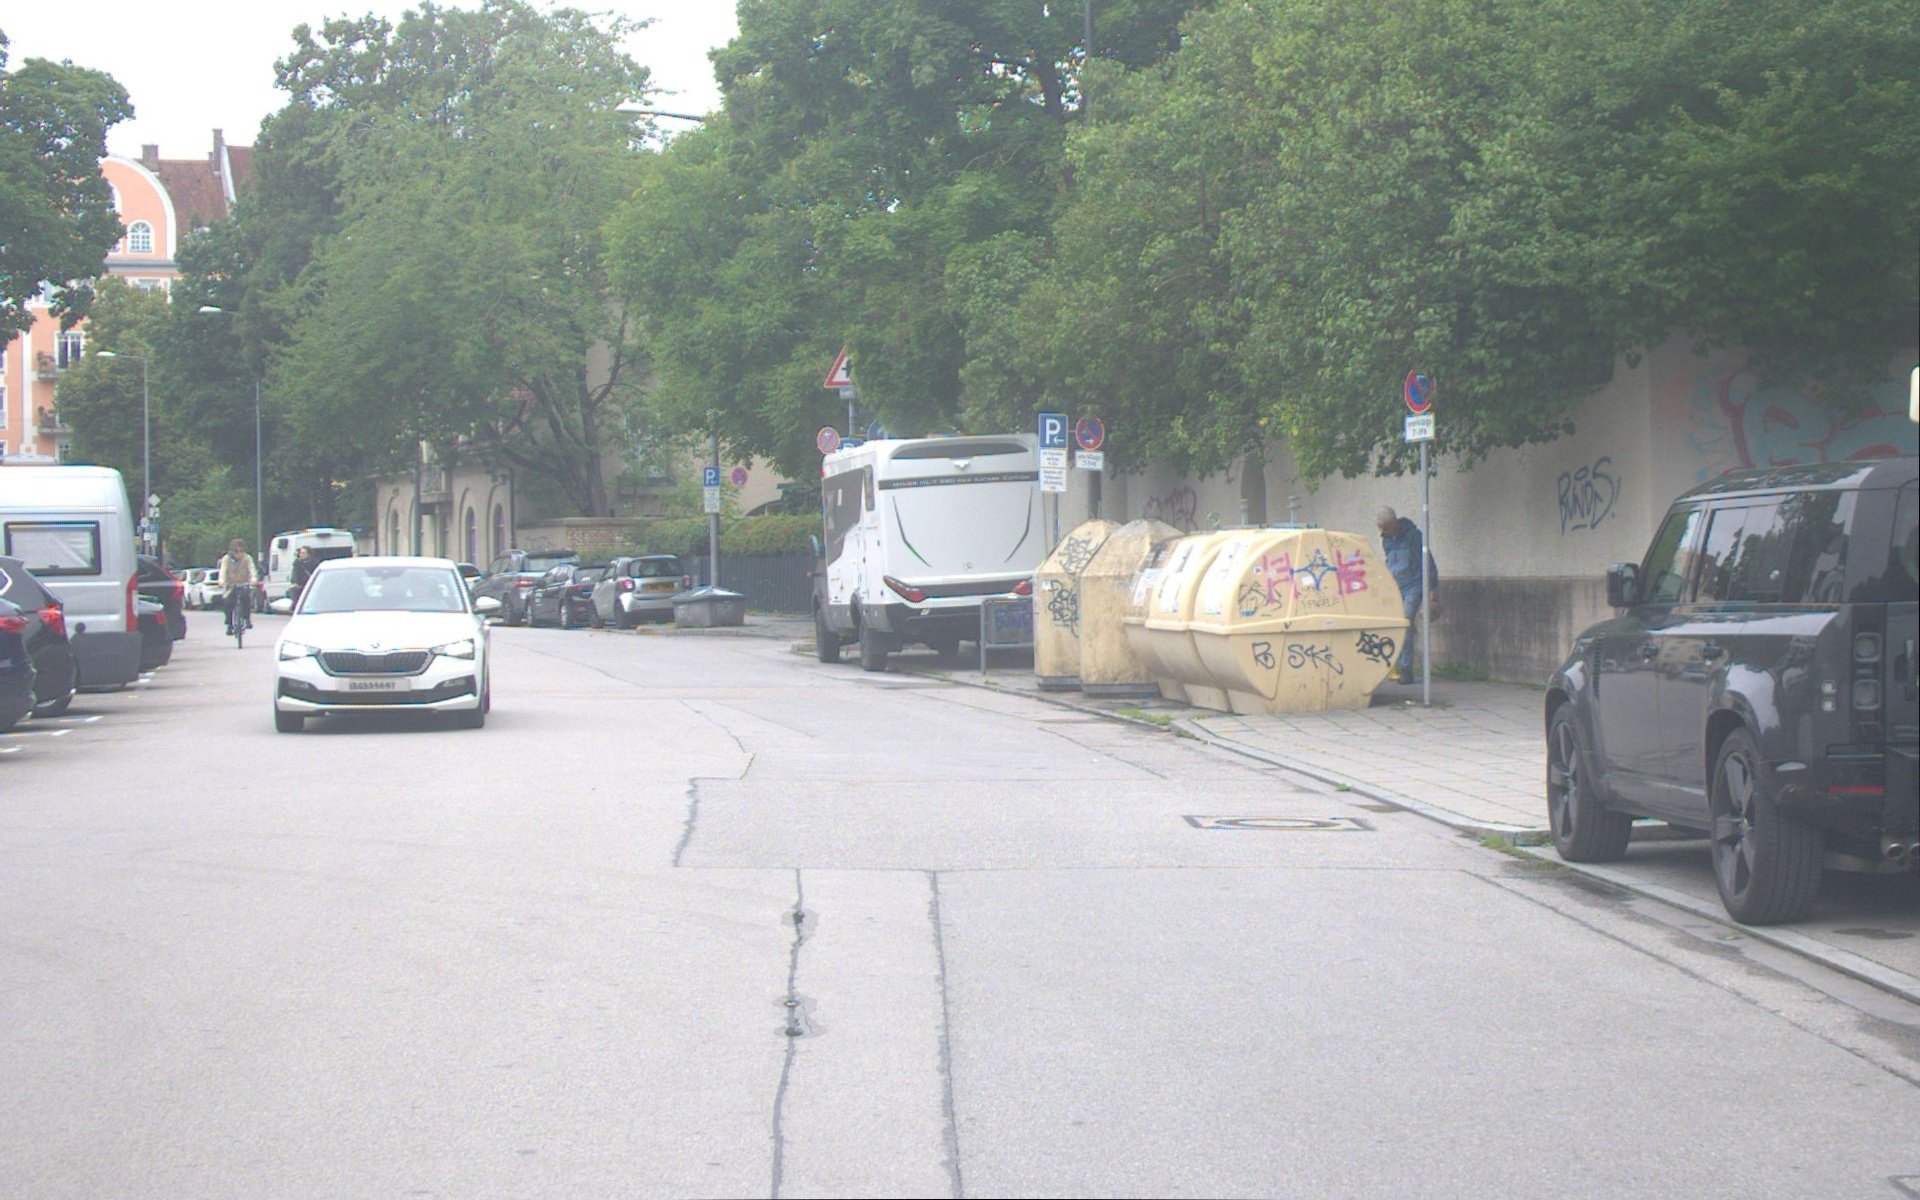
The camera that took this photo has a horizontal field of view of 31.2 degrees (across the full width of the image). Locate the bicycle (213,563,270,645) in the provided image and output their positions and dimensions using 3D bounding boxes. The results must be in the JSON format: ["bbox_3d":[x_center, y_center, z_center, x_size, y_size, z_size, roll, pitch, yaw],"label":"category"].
[{"bbox_3d":[-11.843,0.059,56.615,0.707,1.301,2.119,-1,1,-17],"label":"bicycle"}]

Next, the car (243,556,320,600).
[{"bbox_3d":[-22.094,-0.723,111.858,1.707,1.364,4.131,-3,1,-22],"label":"car"}]

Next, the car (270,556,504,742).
[{"bbox_3d":[-4.948,0.370,30.134,1.772,1.470,4.135,-1,1,-6],"label":"car"}]

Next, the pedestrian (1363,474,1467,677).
[{"bbox_3d":[4.488,-0.247,33.891,0.795,1.978,0.631,-1,1,-20],"label":"pedestrian"}]

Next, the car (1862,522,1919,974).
[{"bbox_3d":[4.211,0.529,10.011,1.747,1.534,4.570,-1,1,-3],"label":"car"}]

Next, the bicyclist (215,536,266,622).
[{"bbox_3d":[-11.832,-0.353,56.550,0.696,1.392,0.930,-1,1,-18],"label":"bicyclist"}]

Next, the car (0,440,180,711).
[{"bbox_3d":[-10.200,-0.208,33.240,4.623,2.554,2.234,-3,2,-34],"label":"car"}]

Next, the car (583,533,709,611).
[{"bbox_3d":[-6.616,-0.575,72.270,1.738,1.531,2.947,-3,1,-23],"label":"car"}]

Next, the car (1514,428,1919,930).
[{"bbox_3d":[4.005,0.273,15.377,1.987,1.865,5.078,0,0,-3],"label":"car"}]

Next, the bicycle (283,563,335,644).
[{"bbox_3d":[-10.813,0.040,57.039,0.706,1.301,2.119,-1,1,-14],"label":"bicycle"}]

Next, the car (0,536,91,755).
[{"bbox_3d":[-8.926,0.423,25.159,4.513,1.588,1.965,-3,1,-34],"label":"car"}]

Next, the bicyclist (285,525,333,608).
[{"bbox_3d":[-10.763,-0.561,56.843,0.696,1.347,0.930,-1,1,-14],"label":"bicyclist"}]

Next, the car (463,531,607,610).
[{"bbox_3d":[-9.983,-0.701,80.390,1.993,1.705,4.886,-3,2,-23],"label":"car"}]

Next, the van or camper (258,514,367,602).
[{"bbox_3d":[-19.977,-1.296,105.902,2.192,2.541,5.730,-3,1,-21],"label":"van or camper"}]

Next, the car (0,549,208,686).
[{"bbox_3d":[-11.136,0.223,39.259,4.514,1.446,1.977,-3,2,-38],"label":"car"}]

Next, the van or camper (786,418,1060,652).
[{"bbox_3d":[-0.631,-0.878,46.587,2.272,2.896,7.279,-1,1,-12],"label":"van or camper"}]

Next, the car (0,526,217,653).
[{"bbox_3d":[-13.181,-0.130,49.185,4.514,1.659,1.987,-3,1,-40],"label":"car"}]

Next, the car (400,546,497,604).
[{"bbox_3d":[-13.313,-0.638,89.389,1.685,1.436,4.001,-2,1,-20],"label":"car"}]

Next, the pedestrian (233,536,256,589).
[{"bbox_3d":[-27.122,-1.424,130.341,0.772,2.007,0.563,-1,1,-20],"label":"pedestrian"}]

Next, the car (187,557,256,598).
[{"bbox_3d":[-26.457,-0.810,123.091,1.707,1.403,4.131,-3,1,-22],"label":"car"}]

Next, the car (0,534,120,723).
[{"bbox_3d":[-9.948,0.334,30.235,4.513,1.620,1.967,-3,0,-34],"label":"car"}]

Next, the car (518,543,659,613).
[{"bbox_3d":[-8.253,-0.498,76.080,1.877,1.422,4.223,-3,2,-23],"label":"car"}]
